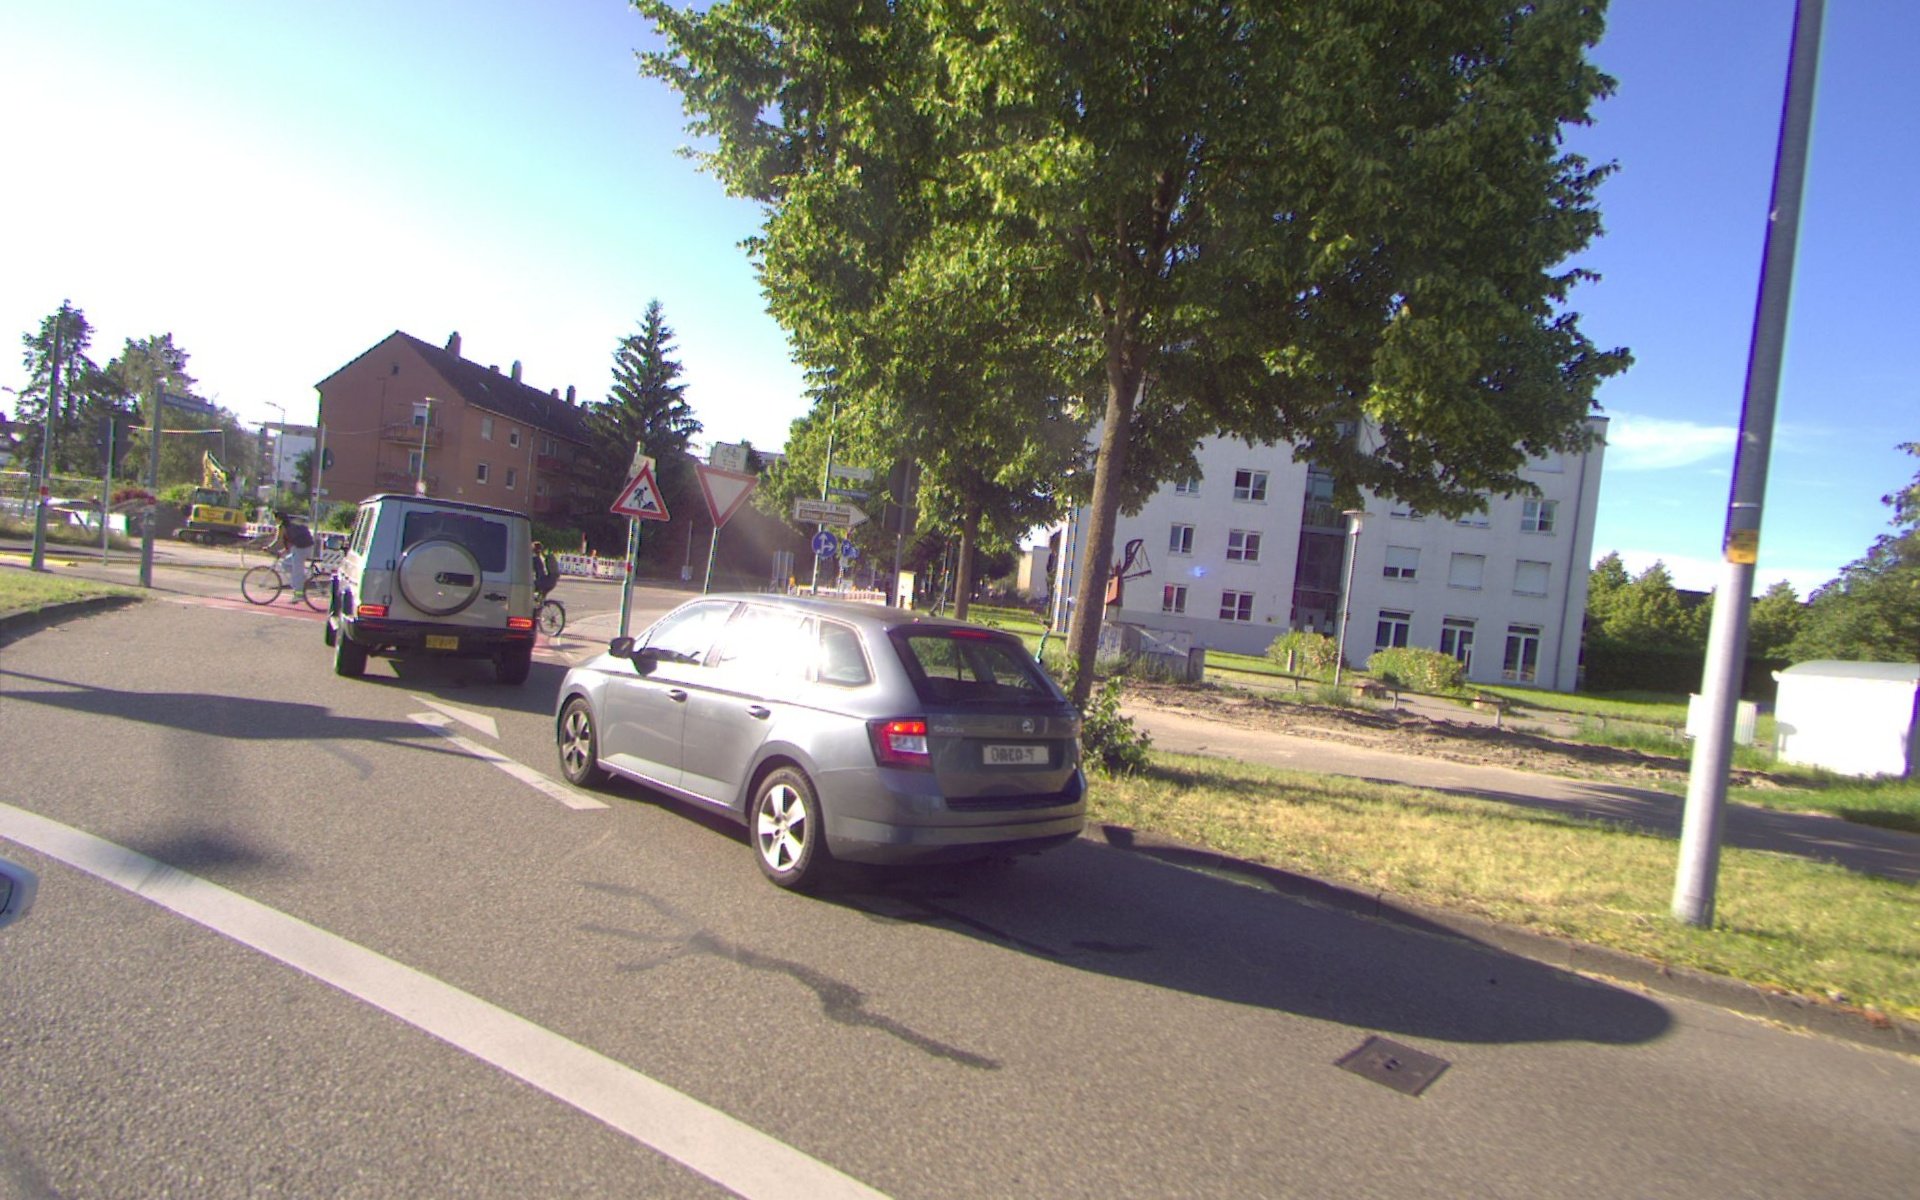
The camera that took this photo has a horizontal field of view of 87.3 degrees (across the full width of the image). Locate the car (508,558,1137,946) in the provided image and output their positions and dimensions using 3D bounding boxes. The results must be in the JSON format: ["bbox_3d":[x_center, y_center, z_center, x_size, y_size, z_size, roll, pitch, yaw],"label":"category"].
[{"bbox_3d":[-1.137,0.659,6.317,1.709,1.454,4.099,7,0,-44],"label":"car"}]

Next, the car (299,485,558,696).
[{"bbox_3d":[-6.514,-0.178,12.003,1.985,1.920,4.706,7,0,-36],"label":"car"}]

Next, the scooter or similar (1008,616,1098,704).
[{"bbox_3d":[1.497,0.967,16.234,1.242,1.262,0.444,6,-1,27],"label":"scooter or similar"}]

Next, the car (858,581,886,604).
[{"bbox_3d":[-9.192,-0.767,105.276,1.962,1.893,4.004,8,-1,7],"label":"car"}]

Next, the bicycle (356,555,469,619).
[{"bbox_3d":[-11.023,-0.243,20.282,1.790,1.040,0.660,7,0,0],"label":"bicycle"}]

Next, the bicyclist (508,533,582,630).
[{"bbox_3d":[-7.738,-0.336,18.775,0.882,1.685,0.661,7,0,11],"label":"bicyclist"}]

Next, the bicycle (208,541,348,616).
[{"bbox_3d":[-11.800,-0.365,17.467,1.795,1.040,0.658,8,0,-14],"label":"bicycle"}]

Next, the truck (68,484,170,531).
[{"bbox_3d":[-49.625,-5.472,59.318,6.323,2.037,2.170,7,-1,27],"label":"truck"}]

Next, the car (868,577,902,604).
[{"bbox_3d":[-6.522,-0.831,87.551,1.962,1.893,4.004,8,-1,7],"label":"car"}]

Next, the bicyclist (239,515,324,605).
[{"bbox_3d":[-11.753,-0.682,17.455,0.920,1.401,0.658,7,0,-14],"label":"bicyclist"}]

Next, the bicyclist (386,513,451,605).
[{"bbox_3d":[-10.890,-0.811,20.268,0.797,1.751,0.654,6,1,1],"label":"bicyclist"}]

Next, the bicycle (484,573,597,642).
[{"bbox_3d":[-7.825,0.146,18.793,1.789,1.040,0.661,7,0,11],"label":"bicycle"}]

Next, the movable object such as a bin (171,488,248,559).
[{"bbox_3d":[-34.841,-3.551,46.666,2.410,2.806,3.955,8,-1,-40],"label":"movable object such as a bin"}]
